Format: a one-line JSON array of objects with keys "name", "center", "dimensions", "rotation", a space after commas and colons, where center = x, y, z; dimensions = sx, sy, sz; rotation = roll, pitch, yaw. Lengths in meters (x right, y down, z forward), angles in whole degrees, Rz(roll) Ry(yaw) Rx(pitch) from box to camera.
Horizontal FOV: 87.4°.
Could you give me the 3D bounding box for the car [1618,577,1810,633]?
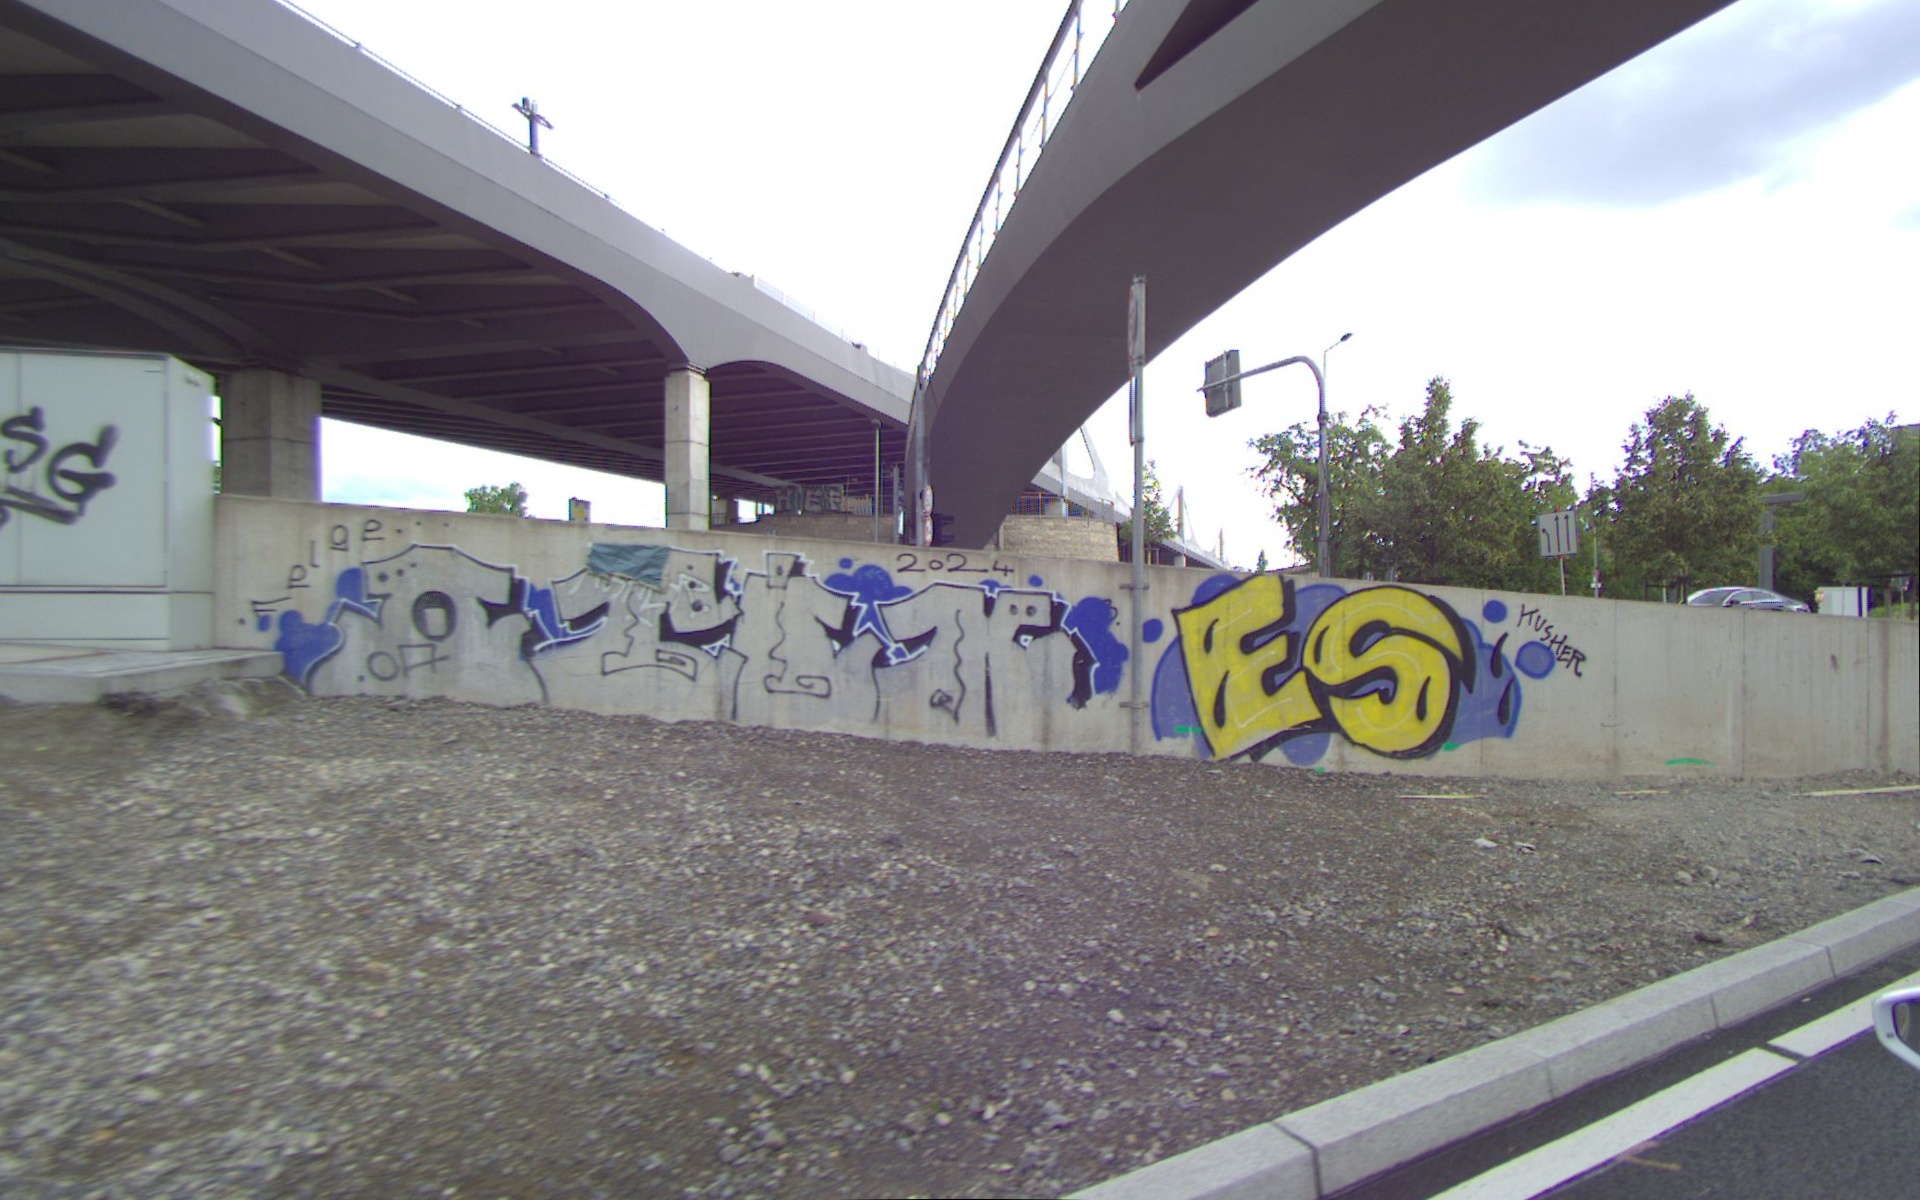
[{"name": "car", "center": [21.504, 0.136, 28.694], "dimensions": [4.533, 1.497, 1.791], "rotation": [-1, 0, -11]}]
